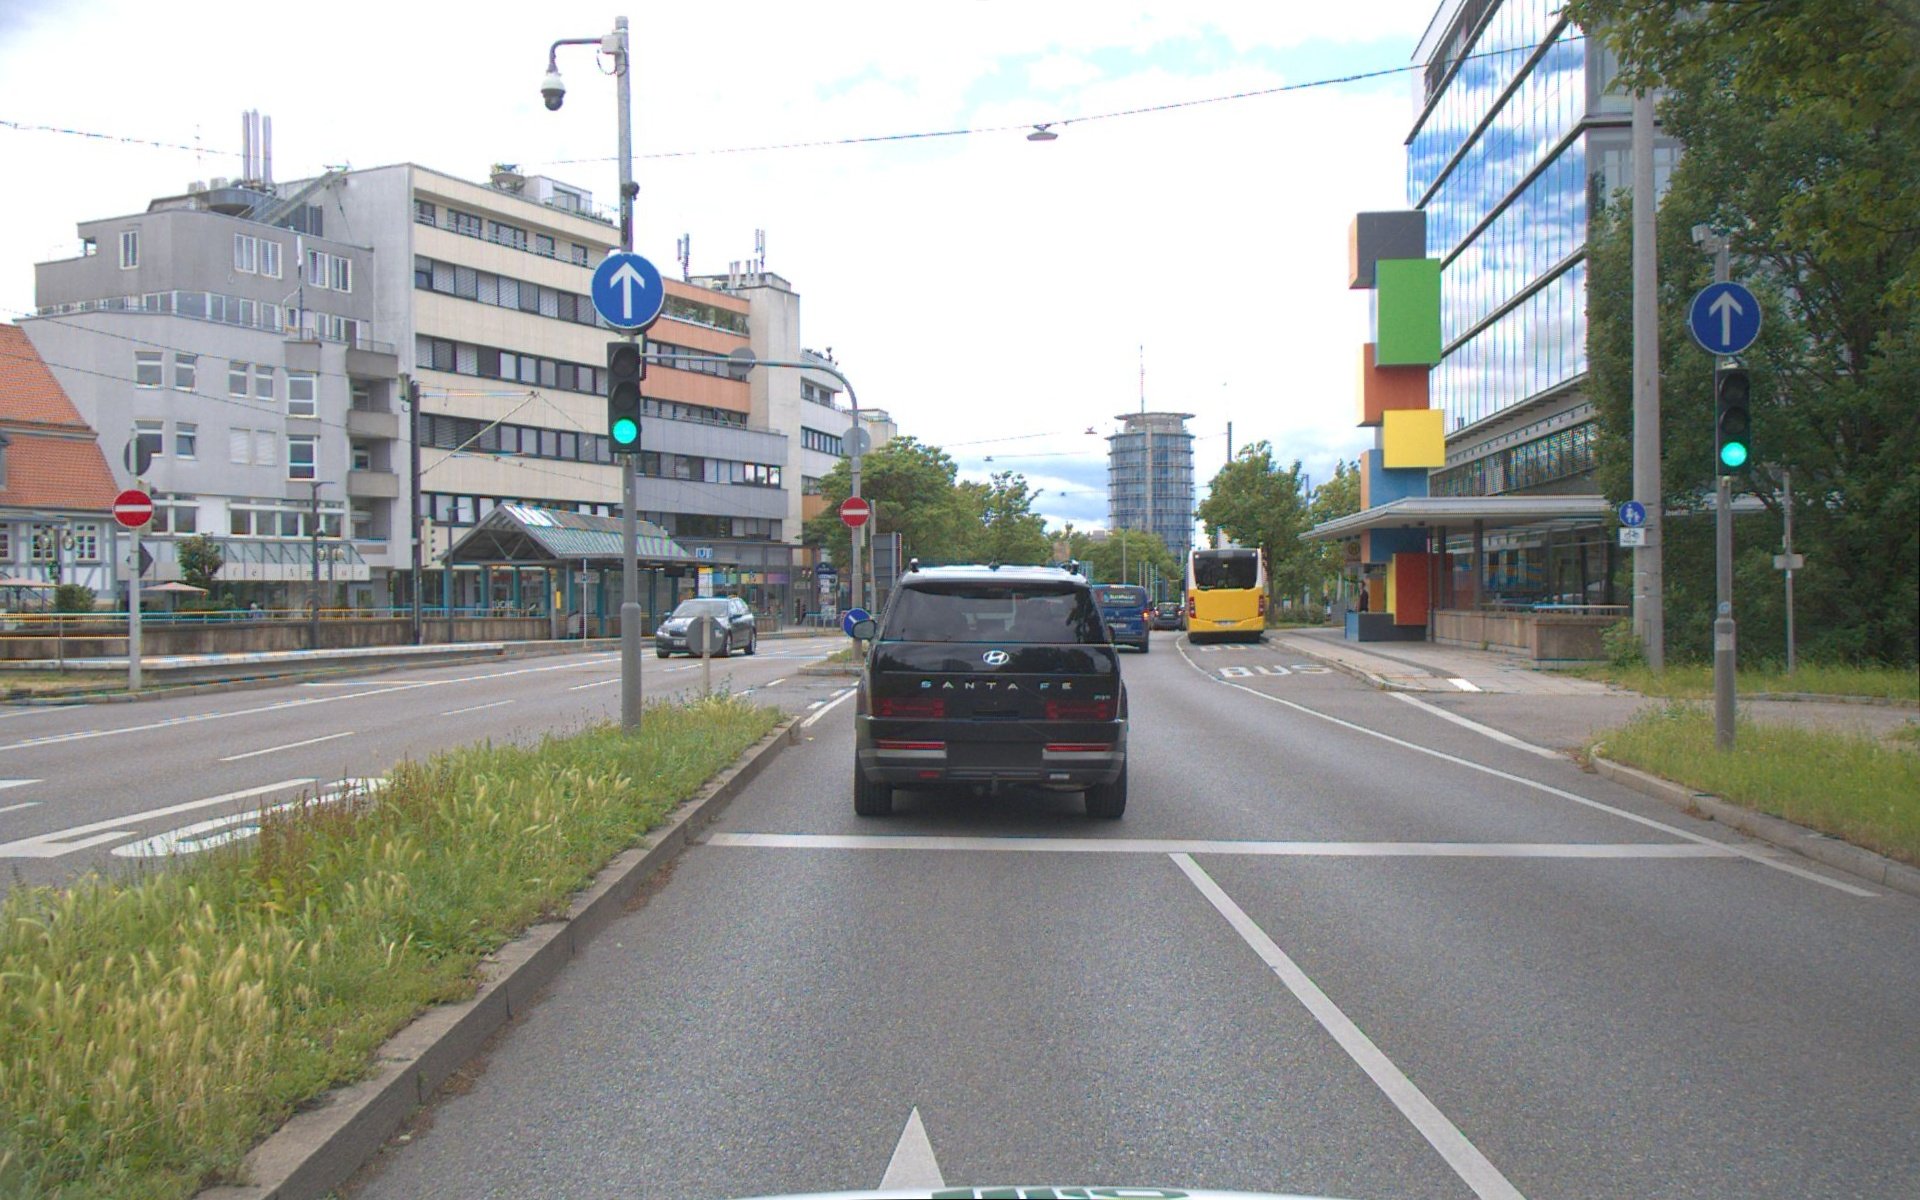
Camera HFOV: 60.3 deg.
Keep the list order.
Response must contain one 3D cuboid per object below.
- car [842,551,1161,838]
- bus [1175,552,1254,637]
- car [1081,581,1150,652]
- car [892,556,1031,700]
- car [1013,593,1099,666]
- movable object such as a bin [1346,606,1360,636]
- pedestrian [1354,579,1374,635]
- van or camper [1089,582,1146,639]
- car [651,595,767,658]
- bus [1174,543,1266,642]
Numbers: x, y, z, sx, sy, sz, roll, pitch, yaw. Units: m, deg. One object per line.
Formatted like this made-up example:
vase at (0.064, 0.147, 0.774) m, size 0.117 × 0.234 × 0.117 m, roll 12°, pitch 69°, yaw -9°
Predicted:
car at (0.108, 0.555, 12.493) m, size 1.865 × 1.761 × 4.441 m, roll 1°, pitch 1°, yaw -6°
bus at (10.426, -0.211, 68.161) m, size 2.889 × 3.166 × 9.984 m, roll -2°, pitch 0°, yaw 8°
car at (4.495, 0.430, 48.111) m, size 1.862 × 1.891 × 4.712 m, roll 1°, pitch 1°, yaw 5°
car at (-0.067, 0.361, 25.715) m, size 1.864 × 2.003 × 4.633 m, roll 1°, pitch 1°, yaw -3°
car at (2.273, 0.659, 40.132) m, size 1.863 × 1.569 × 4.710 m, roll 1°, pitch 1°, yaw 1°
movable object such as a bin at (12.046, 0.651, 50.681) m, size 0.348 × 0.913 × 0.462 m, roll 0°, pitch 0°, yaw 7°
pedestrian at (12.505, 0.211, 51.246) m, size 0.513 × 1.702 × 0.733 m, roll 0°, pitch 0°, yaw 7°
van or camper at (5.781, 0.351, 61.112) m, size 1.952 × 1.951 × 4.411 m, roll 0°, pitch 2°, yaw 3°
car at (-6.147, 0.618, 40.973) m, size 1.760 × 1.480 × 4.615 m, roll -1°, pitch 0°, yaw 5°
bus at (9.153, -0.227, 58.726) m, size 2.903 × 3.171 × 9.251 m, roll -2°, pitch 0°, yaw 8°
